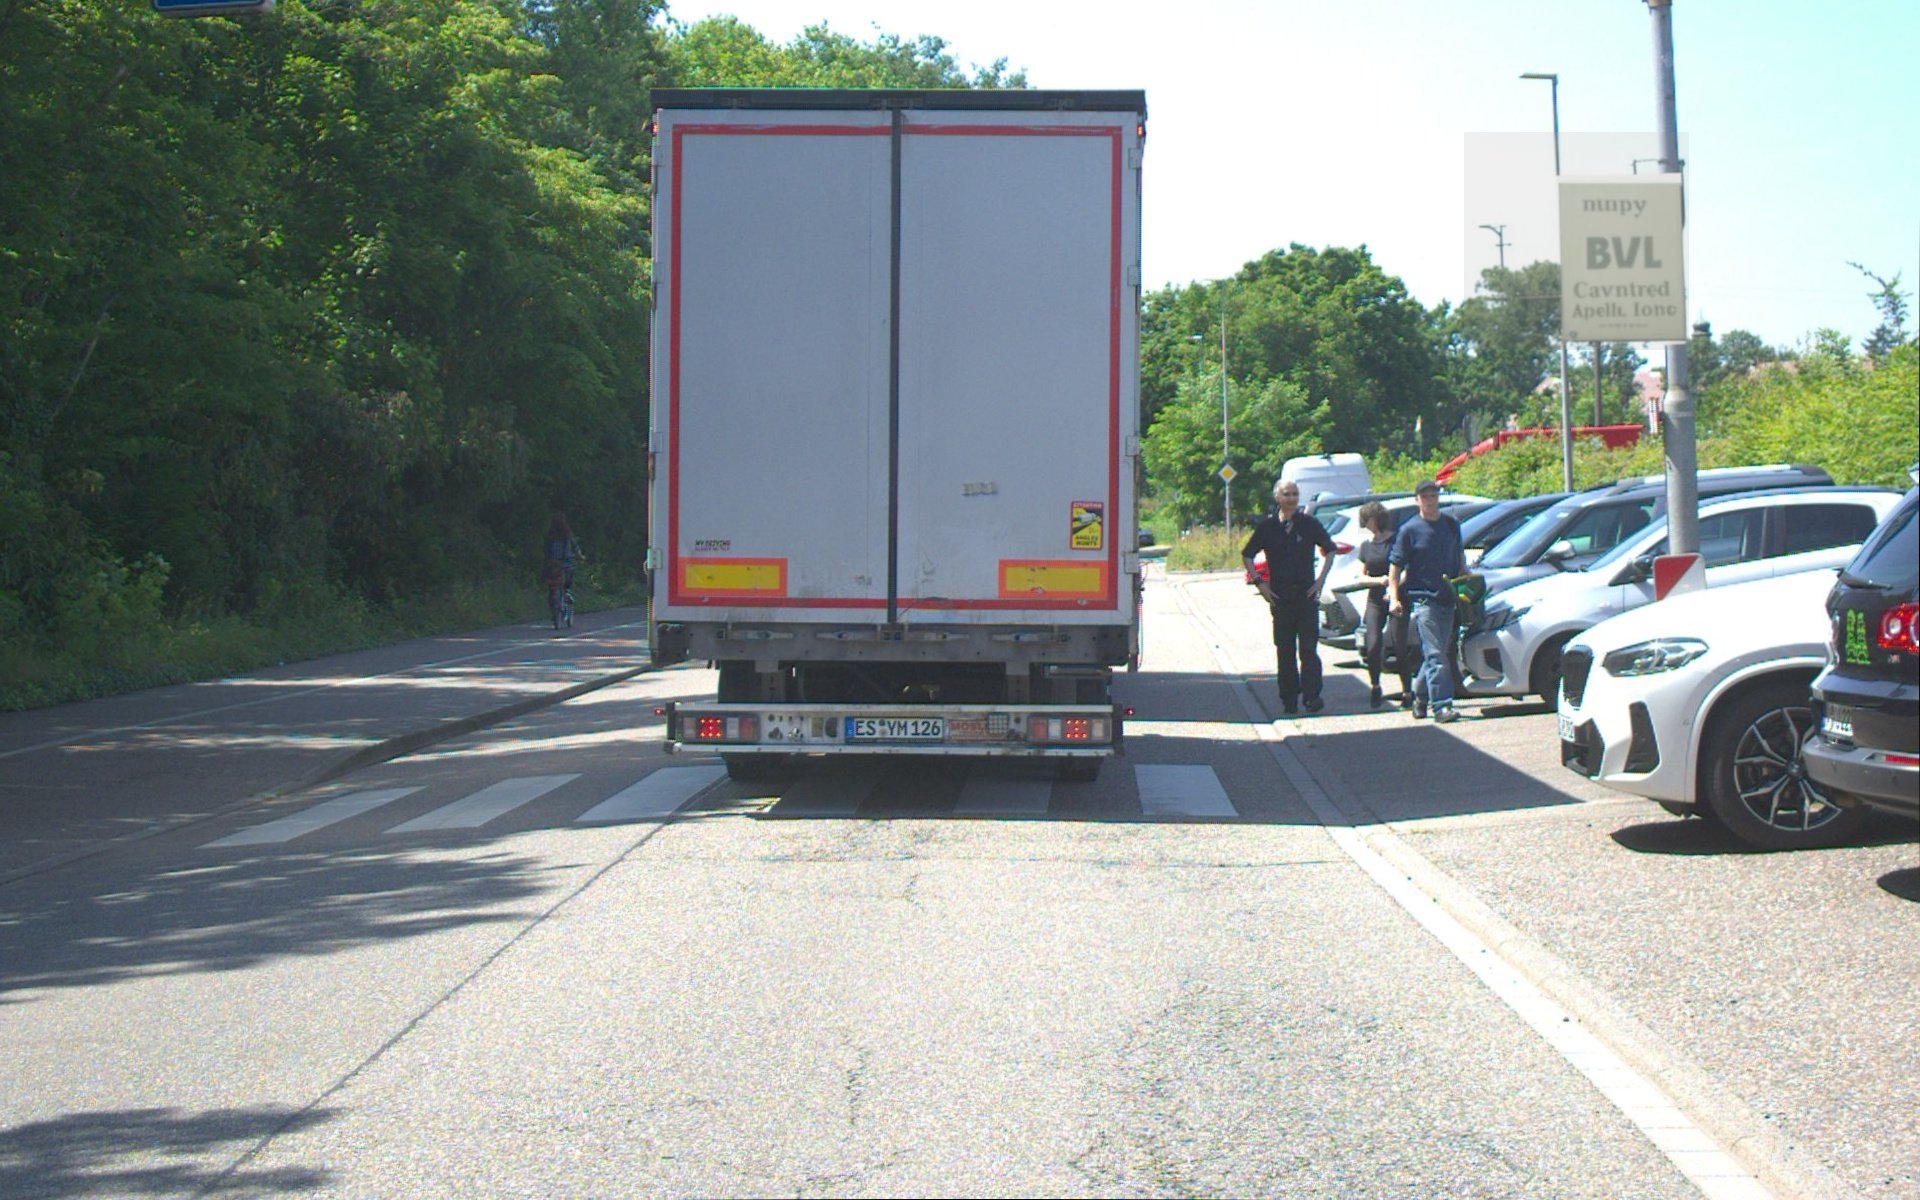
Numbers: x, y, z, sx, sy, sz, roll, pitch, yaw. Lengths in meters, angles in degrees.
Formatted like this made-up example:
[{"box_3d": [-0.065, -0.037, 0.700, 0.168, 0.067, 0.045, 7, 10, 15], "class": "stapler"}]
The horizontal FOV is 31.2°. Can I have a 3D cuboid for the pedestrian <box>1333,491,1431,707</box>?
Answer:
[{"box_3d": [3.279, -0.016, 26.746, 0.589, 1.609, 0.744, -5, 1, 6], "class": "pedestrian"}]

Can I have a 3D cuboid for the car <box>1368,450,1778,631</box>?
[{"box_3d": [6.675, -0.655, 37.662, 3.956, 1.580, 1.814, -5, 1, -6], "class": "car"}]

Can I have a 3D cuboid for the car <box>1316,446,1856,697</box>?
[{"box_3d": [5.147, -0.244, 28.581, 3.956, 1.662, 1.814, -5, 1, -4], "class": "car"}]

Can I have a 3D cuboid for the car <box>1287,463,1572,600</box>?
[{"box_3d": [7.193, -1.065, 52.888, 3.956, 1.759, 1.814, -5, 2, -2], "class": "car"}]

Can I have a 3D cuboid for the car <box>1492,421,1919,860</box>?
[{"box_3d": [4.815, -0.002, 15.375, 4.404, 1.692, 1.877, -6, 1, -2], "class": "car"}]

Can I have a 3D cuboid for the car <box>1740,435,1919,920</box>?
[{"box_3d": [5.193, 0.107, 12.669, 4.125, 1.651, 1.887, -4, 1, 1], "class": "car"}]

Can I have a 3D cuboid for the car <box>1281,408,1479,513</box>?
[{"box_3d": [8.942, -2.967, 73.489, 3.957, 1.792, 1.813, -5, -1, 4], "class": "car"}]

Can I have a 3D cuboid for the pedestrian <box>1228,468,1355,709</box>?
[{"box_3d": [2.645, -0.101, 27.387, 0.822, 1.828, 0.792, -5, 1, 6], "class": "pedestrian"}]

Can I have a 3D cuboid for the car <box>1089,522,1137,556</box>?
[{"box_3d": [7.362, -2.954, 164.973, 1.781, 1.481, 3.999, -2, 2, 9], "class": "car"}]

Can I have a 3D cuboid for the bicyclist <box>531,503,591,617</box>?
[{"box_3d": [-6.214, -0.631, 53.578, 0.717, 1.752, 0.796, -2, 1, 4], "class": "bicyclist"}]

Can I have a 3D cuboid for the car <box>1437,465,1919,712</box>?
[{"box_3d": [5.657, -0.124, 25.671, 3.957, 1.475, 1.813, -5, 1, 6], "class": "car"}]

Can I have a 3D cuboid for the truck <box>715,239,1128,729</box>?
[{"box_3d": [-0.205, -0.990, 29.650, 3.114, 3.712, 6.414, -1, 2, 2], "class": "truck"}]

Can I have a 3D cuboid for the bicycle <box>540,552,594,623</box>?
[{"box_3d": [-6.142, -0.203, 53.770, 0.454, 1.043, 2.203, -2, 1, 3], "class": "bicycle"}]

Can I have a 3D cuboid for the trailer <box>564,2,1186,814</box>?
[{"box_3d": [-0.339, -1.115, 23.255, 3.113, 4.088, 11.537, -1, 1, 1], "class": "trailer"}]

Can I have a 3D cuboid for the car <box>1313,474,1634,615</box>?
[{"box_3d": [6.957, -0.767, 46.834, 3.956, 1.613, 1.814, -4, 2, -2], "class": "car"}]

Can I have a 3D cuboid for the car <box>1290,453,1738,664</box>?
[{"box_3d": [5.477, -0.445, 34.271, 3.956, 1.662, 1.814, -5, 4, -6], "class": "car"}]

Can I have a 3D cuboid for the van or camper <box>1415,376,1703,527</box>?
[{"box_3d": [15.514, -3.802, 88.889, 7.050, 3.574, 2.771, -2, 2, 15], "class": "van or camper"}]

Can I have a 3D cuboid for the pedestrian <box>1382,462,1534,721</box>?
[{"box_3d": [3.660, -0.075, 25.353, 0.908, 1.792, 0.935, -5, 1, 6], "class": "pedestrian"}]

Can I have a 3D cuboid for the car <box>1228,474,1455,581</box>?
[{"box_3d": [7.273, -1.379, 65.841, 3.956, 1.662, 1.814, -5, 1, -2], "class": "car"}]

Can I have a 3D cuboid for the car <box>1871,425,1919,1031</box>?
[{"box_3d": [4.710, 0.207, 8.573, 4.235, 1.648, 1.900, -4, 1, -2], "class": "car"}]
